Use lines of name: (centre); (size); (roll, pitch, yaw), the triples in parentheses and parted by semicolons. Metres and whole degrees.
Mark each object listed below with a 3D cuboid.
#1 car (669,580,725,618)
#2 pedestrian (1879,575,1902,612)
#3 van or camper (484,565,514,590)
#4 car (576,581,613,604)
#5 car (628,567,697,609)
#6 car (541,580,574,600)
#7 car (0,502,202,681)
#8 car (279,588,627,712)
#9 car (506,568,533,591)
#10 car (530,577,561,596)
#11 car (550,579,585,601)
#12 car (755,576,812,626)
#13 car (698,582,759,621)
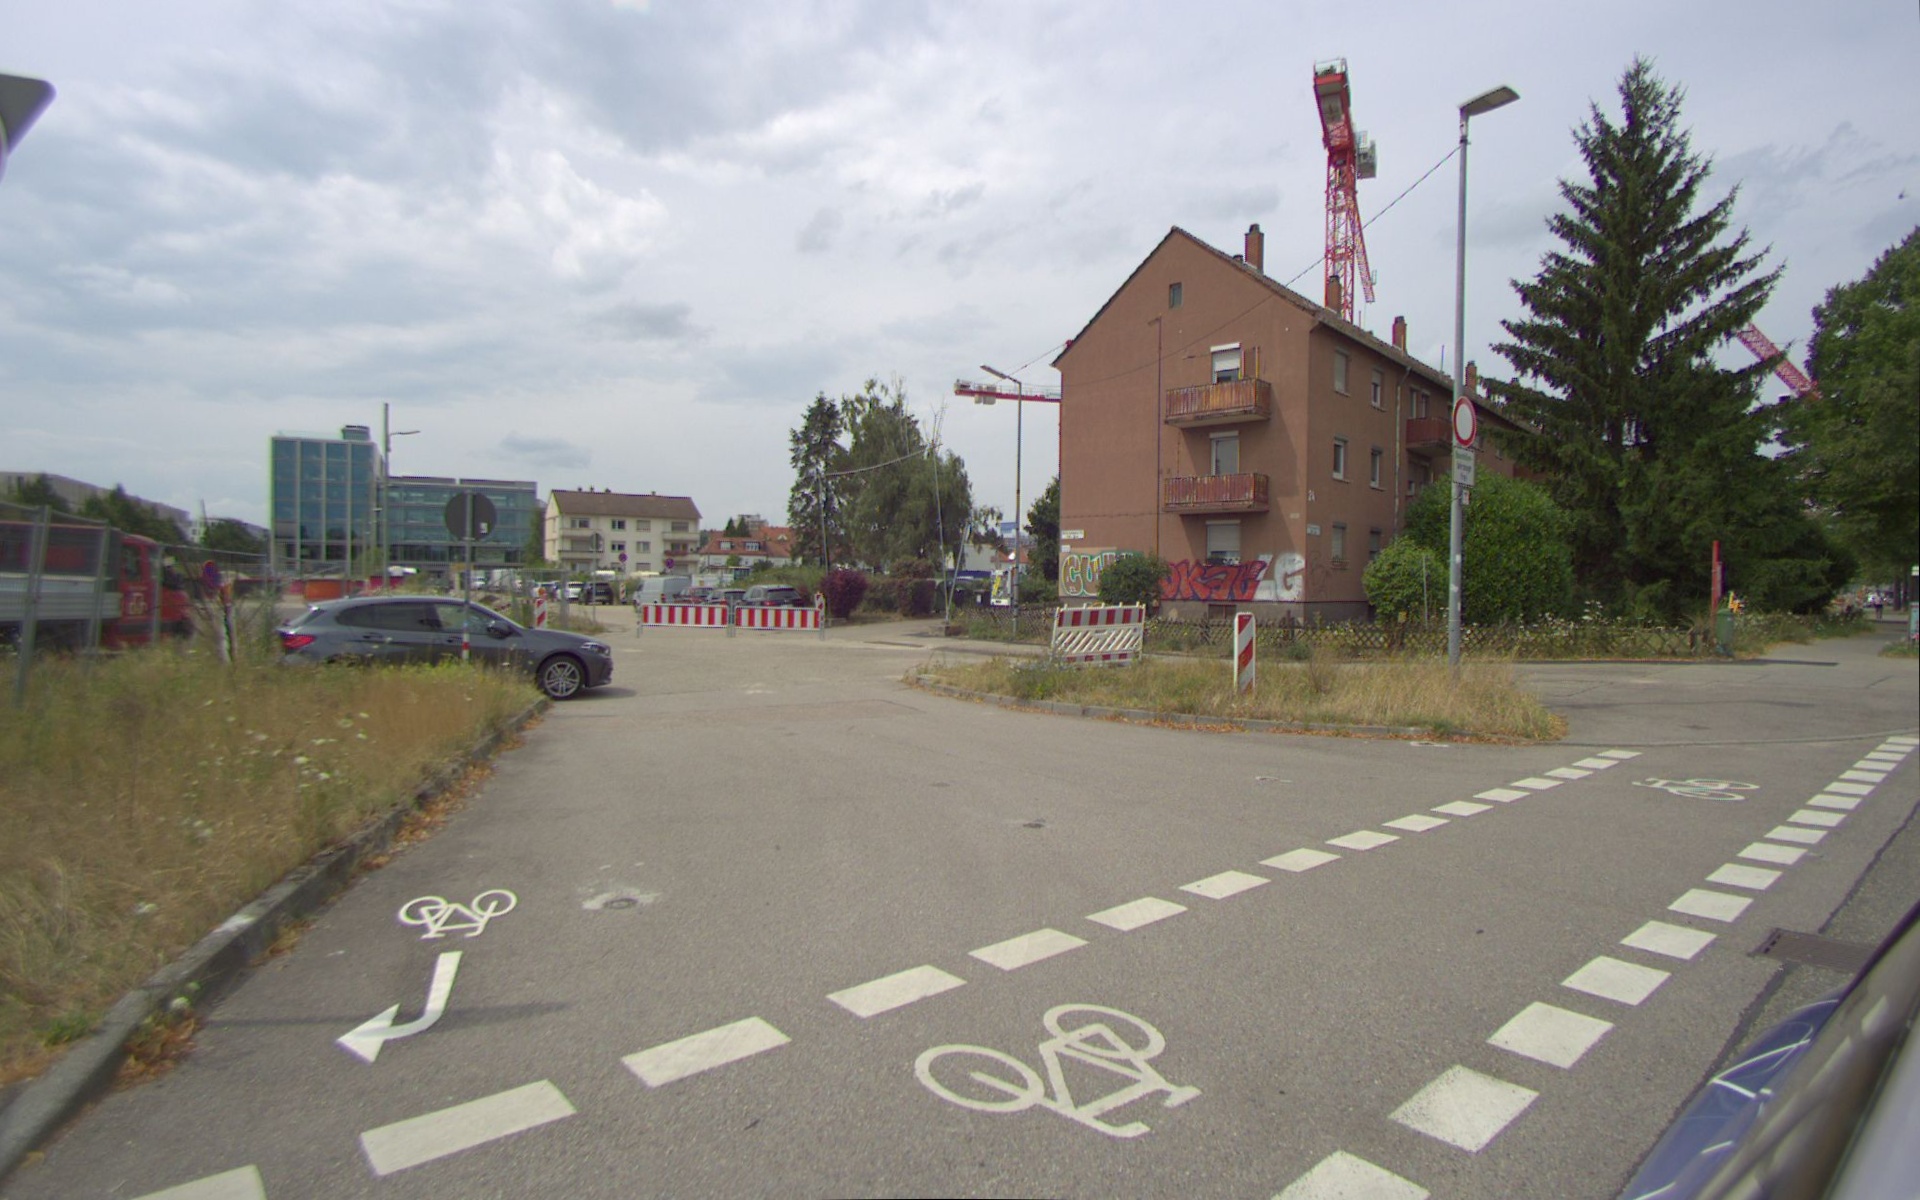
car: (-12.849, -0.082, 49.249); (1.819, 1.771, 4.020); (0, 1, -27)
pedestrian: (52.141, -0.368, 56.709); (0.851, 2.039, 0.722); (1, 0, 37)
van or camper: (-51.442, -2.529, 112.887); (2.306, 2.721, 5.248); (0, 1, -33)
car: (-24.926, -0.548, 68.882); (1.820, 1.525, 4.019); (0, 1, -28)
car: (-15.939, -0.653, 54.023); (2.107, 2.163, 4.910); (0, 1, -35)
car: (-31.789, -0.812, 79.876); (1.821, 1.554, 4.017); (0, 1, -31)
car: (-15.019, -0.177, 16.348); (2.270, 2.442, 6.557); (0, 1, -16)
car: (-7.037, 0.588, 14.205); (4.178, 1.492, 1.767); (0, 1, -35)
car: (-42.231, -1.968, 96.954); (1.852, 2.126, 4.017); (0, 1, -31)
car: (-34.464, -1.154, 84.130); (1.821, 1.554, 4.017); (0, 1, -31)
car: (-29.116, -0.764, 75.024); (1.821, 1.554, 4.017); (0, 1, -31)
car: (-7.096, -0.006, 40.424); (1.764, 1.872, 4.009); (0, 1, -17)
car: (-10.295, 0.033, 44.819); (1.765, 1.622, 4.020); (0, 1, -26)
